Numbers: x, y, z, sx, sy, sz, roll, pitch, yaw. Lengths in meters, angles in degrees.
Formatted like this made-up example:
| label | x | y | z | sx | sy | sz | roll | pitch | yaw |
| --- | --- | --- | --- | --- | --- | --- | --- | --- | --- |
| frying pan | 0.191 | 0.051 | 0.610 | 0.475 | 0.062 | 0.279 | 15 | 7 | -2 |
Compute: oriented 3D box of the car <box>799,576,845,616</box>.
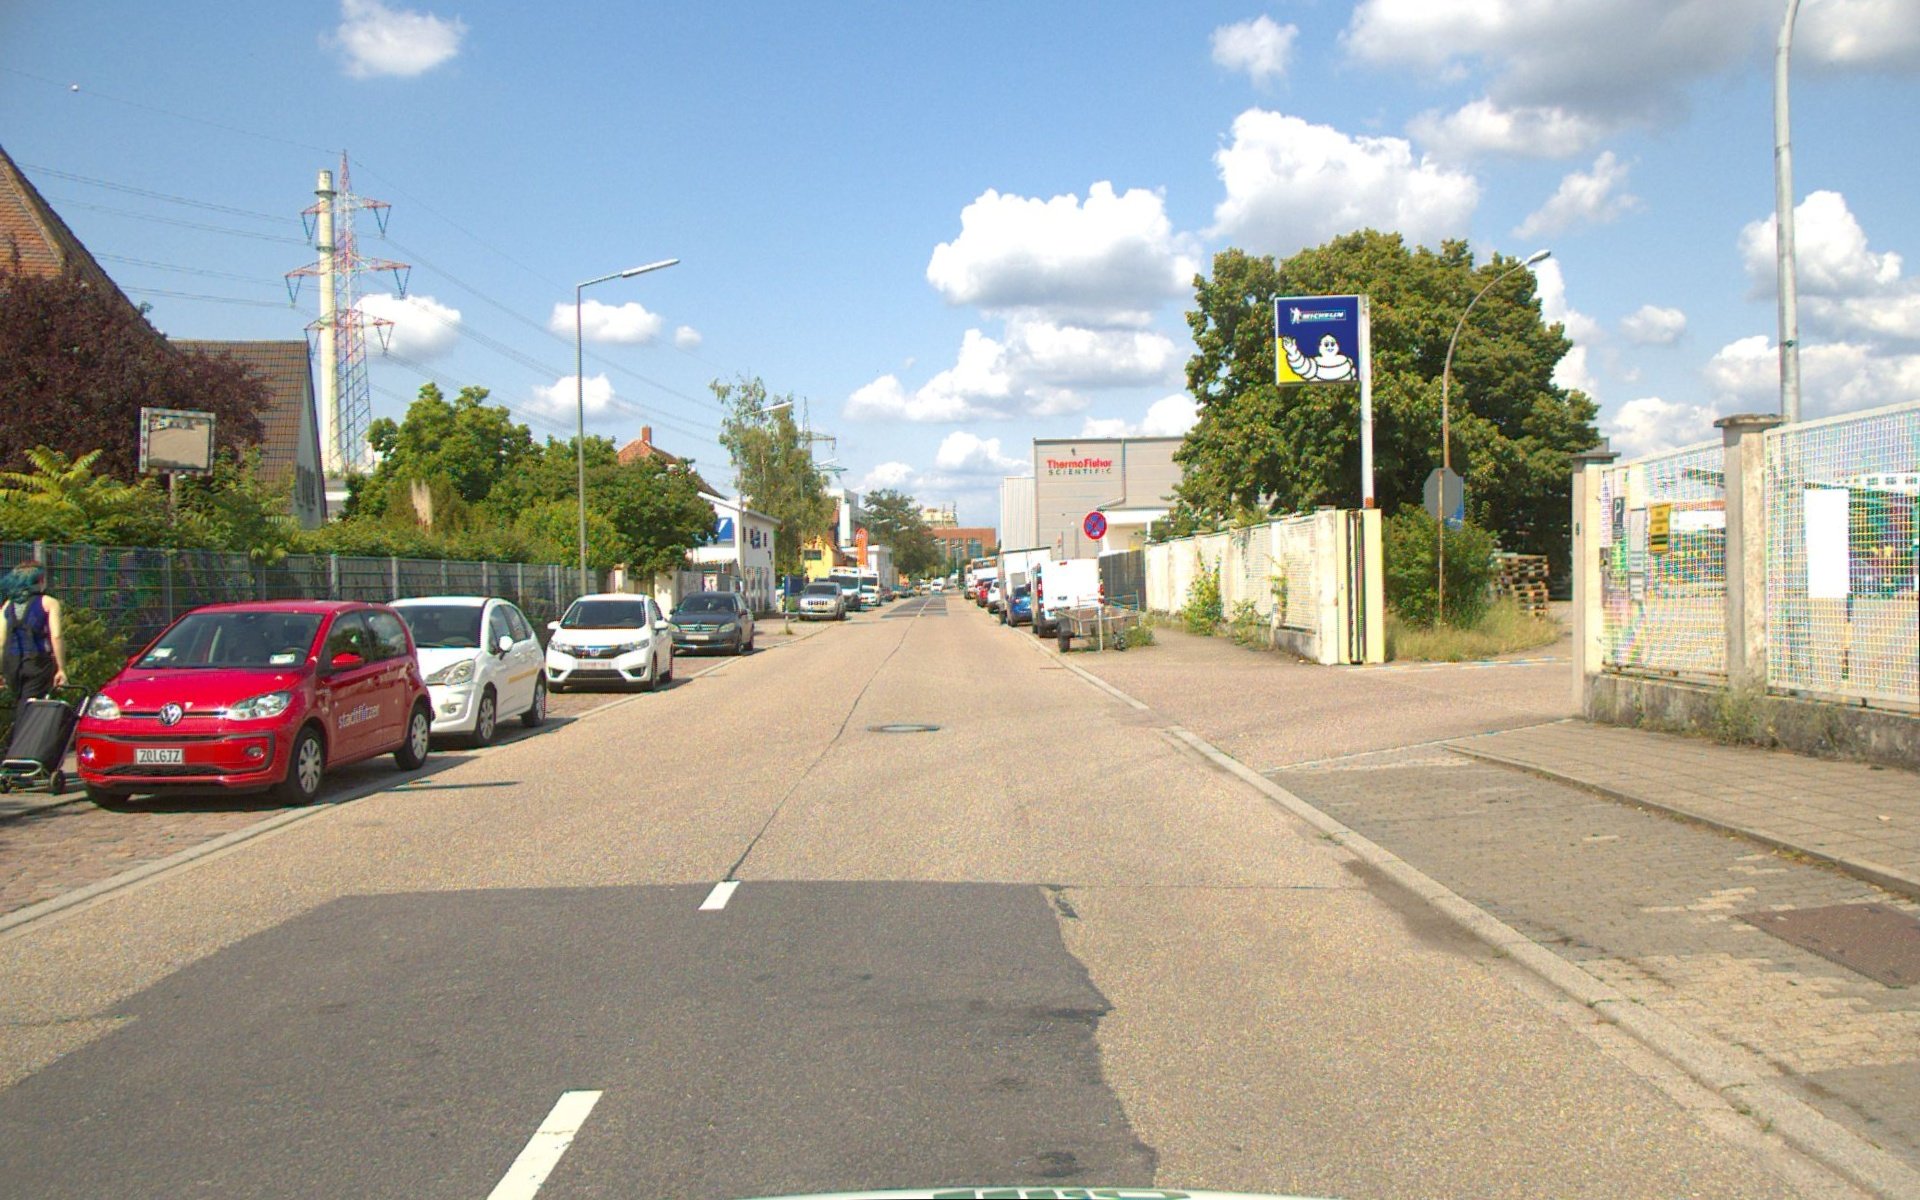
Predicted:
| label | x | y | z | sx | sy | sz | roll | pitch | yaw |
| --- | --- | --- | --- | --- | --- | --- | --- | --- | --- |
| car | -6.358 | -0.215 | 76.366 | 1.754 | 1.749 | 4.751 | 1 | 1 | -1 |

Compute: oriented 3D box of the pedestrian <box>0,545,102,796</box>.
| label | x | y | z | sx | sy | sz | roll | pitch | yaw |
| --- | --- | --- | --- | --- | --- | --- | --- | --- | --- |
| pedestrian | -7.222 | 0.542 | 13.116 | 0.441 | 1.927 | 0.677 | -1 | 0 | -1 |

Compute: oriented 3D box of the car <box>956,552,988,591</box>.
| label | x | y | z | sx | sy | sz | roll | pitch | yaw |
| --- | --- | --- | --- | --- | --- | --- | --- | --- | --- |
| car | 1.154 | -2.705 | 158.790 | 2.342 | 3.420 | 6.641 | -5 | 1 | -3 |

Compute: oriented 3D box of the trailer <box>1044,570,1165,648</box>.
| label | x | y | z | sx | sy | sz | roll | pitch | yaw |
| --- | --- | --- | --- | --- | --- | --- | --- | --- | --- |
| trailer | 3.062 | 0.182 | 35.962 | 1.716 | 1.441 | 4.544 | -5 | 1 | -6 |

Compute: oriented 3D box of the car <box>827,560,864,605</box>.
| label | x | y | z | sx | sy | sz | roll | pitch | yaw |
| --- | --- | --- | --- | --- | --- | --- | --- | --- | --- |
| car | -6.838 | -1.054 | 99.055 | 1.989 | 2.602 | 6.654 | 1 | 0 | -2 |

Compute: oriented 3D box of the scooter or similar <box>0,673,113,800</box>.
| label | x | y | z | sx | sy | sz | roll | pitch | yaw |
| --- | --- | --- | --- | --- | --- | --- | --- | --- | --- |
| scooter or similar | -6.916 | 1.033 | 12.675 | 0.461 | 0.902 | 0.710 | -1 | 0 | -1 |

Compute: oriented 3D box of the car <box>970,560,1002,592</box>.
| label | x | y | z | sx | sy | sz | roll | pitch | yaw |
| --- | --- | --- | --- | --- | --- | --- | --- | --- | --- |
| car | 1.742 | -1.604 | 110.439 | 2.012 | 1.936 | 5.147 | -3 | 1 | 1 |

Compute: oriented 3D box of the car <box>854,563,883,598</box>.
| label | x | y | z | sx | sy | sz | roll | pitch | yaw |
| --- | --- | --- | --- | --- | --- | --- | --- | --- | --- |
| car | -6.964 | -1.473 | 125.879 | 1.986 | 2.606 | 6.838 | 0 | 0 | -1 |

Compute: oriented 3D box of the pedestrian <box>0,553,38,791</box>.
| label | x | y | z | sx | sy | sz | roll | pitch | yaw |
| --- | --- | --- | --- | --- | --- | --- | --- | --- | --- |
| pedestrian | -7.747 | 0.564 | 12.771 | 0.693 | 1.832 | 0.916 | -1 | 0 | -1 |

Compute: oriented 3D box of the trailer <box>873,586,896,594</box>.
| label | x | y | z | sx | sy | sz | roll | pitch | yaw |
| --- | --- | --- | --- | --- | --- | --- | --- | --- | --- |
| trailer | -8.032 | -1.064 | 176.421 | 2.314 | 0.908 | 5.568 | 0 | 1 | -1 |

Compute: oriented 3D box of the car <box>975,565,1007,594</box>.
| label | x | y | z | sx | sy | sz | roll | pitch | yaw |
| --- | --- | --- | --- | --- | --- | --- | --- | --- | --- |
| car | 1.931 | -1.304 | 104.016 | 1.670 | 1.652 | 4.092 | -5 | 1 | -1 |

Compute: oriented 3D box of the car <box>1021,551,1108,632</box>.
| label | x | y | z | sx | sy | sz | roll | pitch | yaw |
| --- | --- | --- | --- | --- | --- | --- | --- | --- | --- |
| car | 2.860 | -0.264 | 46.340 | 1.953 | 2.048 | 5.649 | -2 | 1 | -1 |

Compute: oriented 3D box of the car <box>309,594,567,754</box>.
| label | x | y | z | sx | sy | sz | roll | pitch | yaw |
| --- | --- | --- | --- | --- | --- | --- | --- | --- | --- |
| car | -5.594 | 0.721 | 18.238 | 1.612 | 1.503 | 4.028 | -1 | 1 | -1 |

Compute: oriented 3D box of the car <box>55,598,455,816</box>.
| label | x | y | z | sx | sy | sz | roll | pitch | yaw |
| --- | --- | --- | --- | --- | --- | --- | --- | --- | --- |
| car | -5.495 | 0.742 | 13.426 | 1.632 | 1.492 | 3.744 | 0 | 0 | 0 |

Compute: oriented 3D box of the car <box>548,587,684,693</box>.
| label | x | y | z | sx | sy | sz | roll | pitch | yaw |
| --- | --- | --- | --- | --- | --- | --- | --- | --- | --- |
| car | -5.635 | 0.591 | 27.487 | 1.588 | 1.549 | 4.173 | -1 | 1 | -4 |

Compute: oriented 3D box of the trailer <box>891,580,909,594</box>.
| label | x | y | z | sx | sy | sz | roll | pitch | yaw |
| --- | --- | --- | --- | --- | --- | --- | --- | --- | --- |
| trailer | -7.137 | -1.604 | 197.462 | 1.953 | 1.584 | 4.253 | -1 | 1 | -1 |

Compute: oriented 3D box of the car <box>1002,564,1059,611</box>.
| label | x | y | z | sx | sy | sz | roll | pitch | yaw |
| --- | --- | --- | --- | --- | --- | --- | --- | --- | --- |
| car | 2.465 | -0.445 | 58.682 | 1.657 | 1.486 | 4.069 | -4 | 1 | -2 |

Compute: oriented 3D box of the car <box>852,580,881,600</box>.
| label | x | y | z | sx | sy | sz | roll | pitch | yaw |
| --- | --- | --- | --- | --- | --- | --- | --- | --- | --- |
| car | -6.712 | -0.726 | 118.731 | 1.759 | 1.422 | 4.502 | 0 | 0 | 1 |

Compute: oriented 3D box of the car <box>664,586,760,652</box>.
| label | x | y | z | sx | sy | sz | roll | pitch | yaw |
| --- | --- | --- | --- | --- | --- | --- | --- | --- | --- |
| car | -5.887 | 0.410 | 39.701 | 1.769 | 1.443 | 4.495 | 0 | 1 | -2 |

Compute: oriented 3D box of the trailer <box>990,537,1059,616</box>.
| label | x | y | z | sx | sy | sz | roll | pitch | yaw |
| --- | --- | --- | --- | --- | --- | --- | --- | --- | --- |
| trailer | 2.470 | -0.915 | 65.364 | 2.160 | 2.784 | 6.220 | -5 | 1 | -1 |

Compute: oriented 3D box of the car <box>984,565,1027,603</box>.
| label | x | y | z | sx | sy | sz | roll | pitch | yaw |
| --- | --- | --- | --- | --- | --- | --- | --- | --- | --- |
| car | 2.276 | -0.816 | 83.846 | 1.896 | 1.722 | 4.679 | -4 | 1 | -1 |

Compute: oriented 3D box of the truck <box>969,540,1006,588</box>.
| label | x | y | z | sx | sy | sz | roll | pitch | yaw |
| --- | --- | --- | --- | --- | --- | --- | --- | --- | --- |
| truck | 2.085 | -2.776 | 127.881 | 2.409 | 3.349 | 6.818 | -6 | 1 | 0 |
